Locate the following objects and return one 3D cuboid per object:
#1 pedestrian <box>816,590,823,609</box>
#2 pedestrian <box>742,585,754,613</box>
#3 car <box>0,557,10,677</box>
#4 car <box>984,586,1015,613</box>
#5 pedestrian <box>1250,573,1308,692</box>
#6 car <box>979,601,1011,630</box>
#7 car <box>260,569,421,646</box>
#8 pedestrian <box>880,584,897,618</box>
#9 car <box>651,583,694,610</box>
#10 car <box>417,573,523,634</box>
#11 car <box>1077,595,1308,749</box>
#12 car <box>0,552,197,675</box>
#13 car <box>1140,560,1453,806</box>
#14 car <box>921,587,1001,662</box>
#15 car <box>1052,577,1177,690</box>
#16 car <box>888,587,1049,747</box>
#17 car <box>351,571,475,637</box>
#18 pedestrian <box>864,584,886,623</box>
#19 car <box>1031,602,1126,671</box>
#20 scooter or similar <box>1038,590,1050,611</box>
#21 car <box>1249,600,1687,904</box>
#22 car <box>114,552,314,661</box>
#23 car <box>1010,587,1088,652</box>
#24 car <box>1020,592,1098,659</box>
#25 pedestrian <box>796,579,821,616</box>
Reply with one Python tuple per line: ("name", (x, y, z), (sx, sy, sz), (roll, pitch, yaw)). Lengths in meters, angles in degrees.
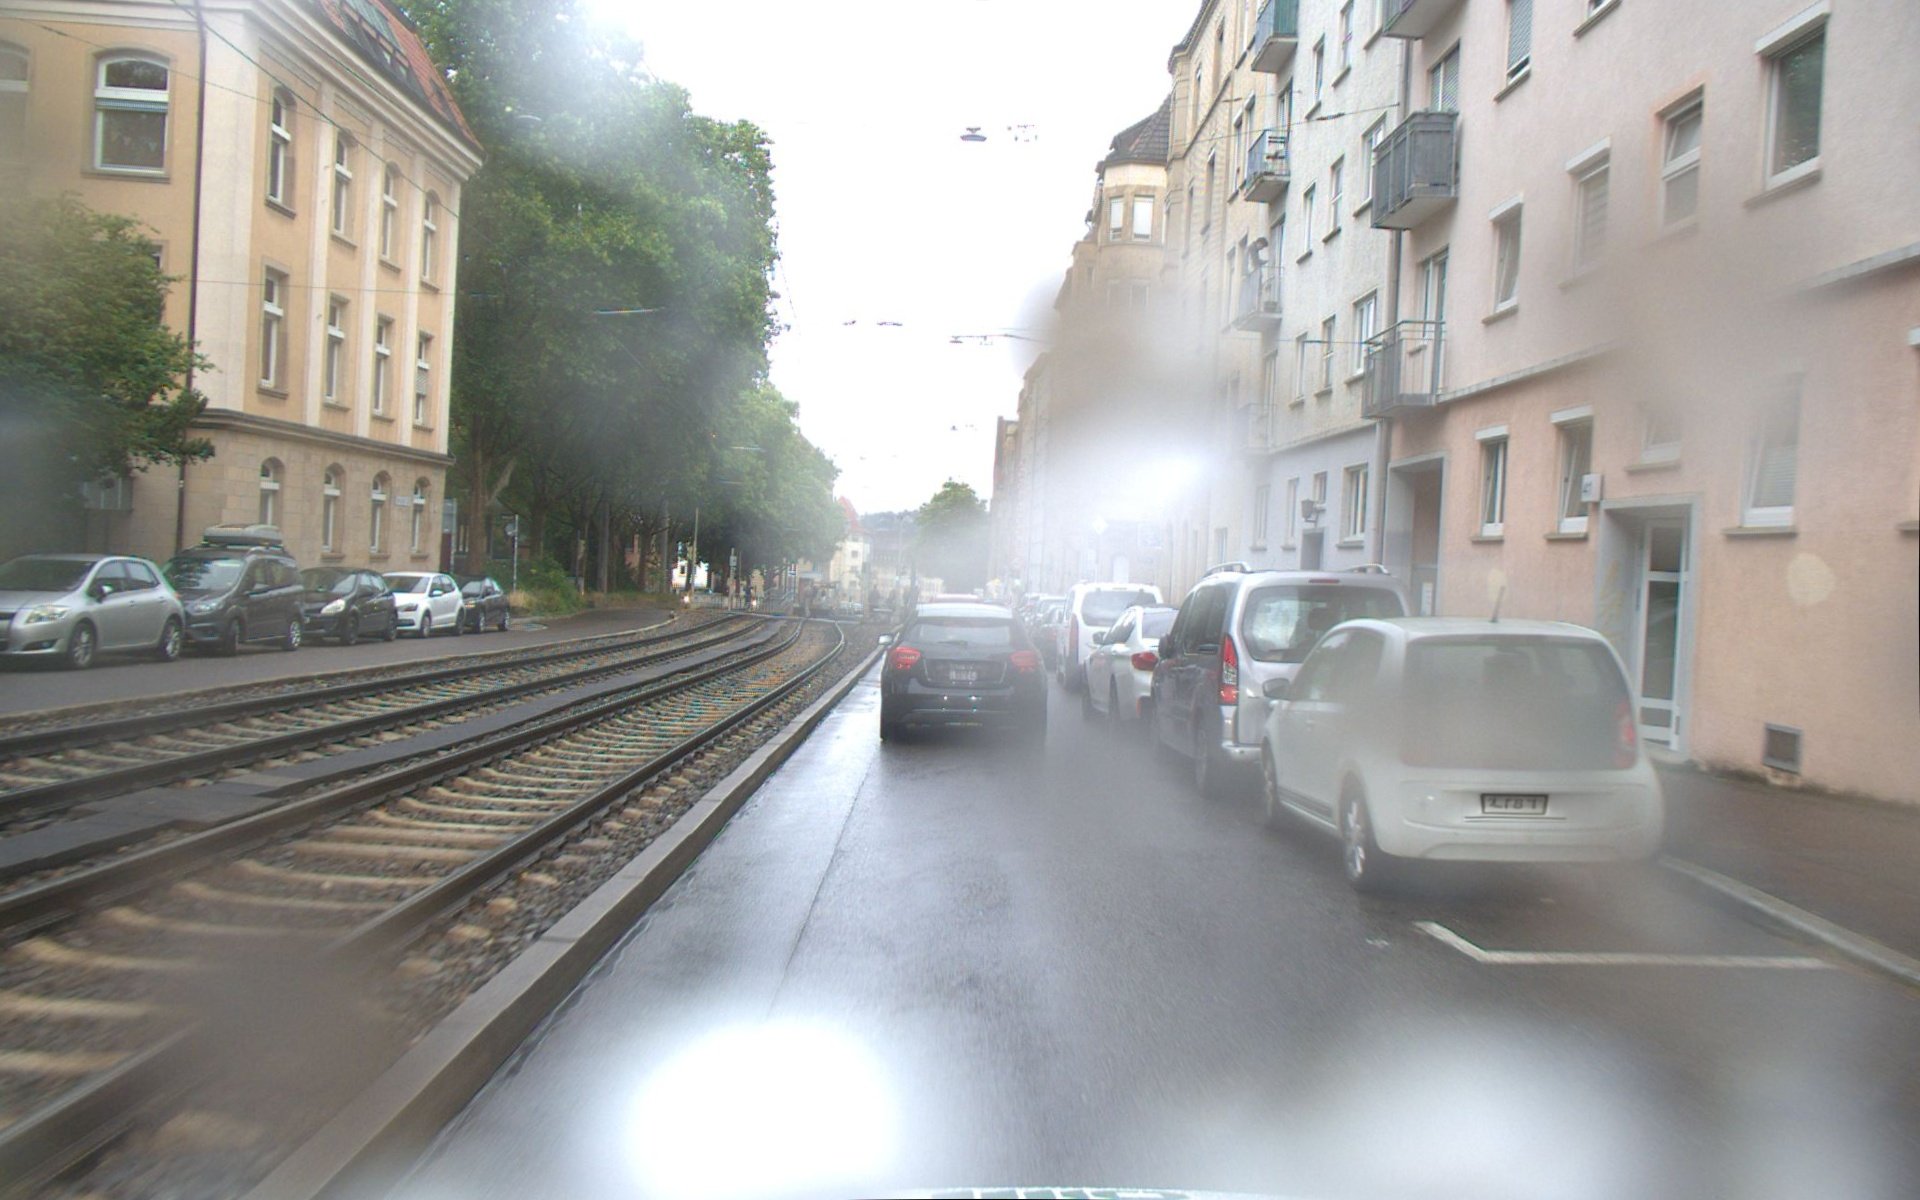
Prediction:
("pedestrian", (-13.540, -0.060, 159.178), (0.508, 1.747, 0.551), (4, 0, -1))
("pedestrian", (-13.433, -0.065, 104.860), (0.523, 1.784, 0.607), (4, 0, 0))
("car", (-12.140, 0.204, 17.890), (1.508, 1.438, 3.952), (0, 0, -2))
("car", (2.368, -0.043, 100.967), (1.724, 1.606, 3.999), (1, 0, -1))
("pedestrian", (5.118, 0.505, 26.575), (0.730, 1.866, 1.039), (0, 0, 1))
("car", (2.026, 0.883, 96.475), (1.790, 1.646, 3.864), (1, 0, -1))
("car", (-12.178, 0.132, 32.758), (1.640, 1.438, 4.010), (0, 0, 0))
("pedestrian", (-3.506, 0.047, 81.308), (0.789, 1.662, 0.892), (1, 0, 0))
("car", (-17.701, -0.239, 101.983), (1.780, 1.531, 4.633), (3, 0, 0))
("car", (-12.512, 0.063, 42.430), (1.581, 1.454, 3.851), (2, 1, -1))
("car", (2.556, 0.730, 19.360), (1.833, 1.481, 4.901), (2, 0, -2))
("car", (-12.113, 0.156, 22.625), (1.508, 1.531, 4.153), (0, 0, -2))
("car", (2.734, 0.612, 14.408), (1.754, 1.796, 4.211), (1, 0, -1))
("car", (-0.005, 0.542, 39.144), (1.749, 1.608, 3.999), (2, 0, -1))
("car", (2.641, 0.532, 29.152), (1.791, 1.781, 4.467), (2, 0, 1))
("car", (0.049, 0.664, 18.227), (1.548, 1.531, 3.573), (2, 0, -1))
("car", (-12.417, 0.085, 37.784), (1.469, 1.415, 3.987), (0, 0, 0))
("pedestrian", (-4.499, 0.167, 87.329), (1.115, 2.033, 1.171), (1, 0, -5))
("car", (2.601, 0.771, 37.186), (1.683, 1.370, 4.460), (3, 0, -1))
("scooter or similar", (5.464, 0.001, 107.116), (0.440, 1.344, 1.774), (1, 0, -8))
("car", (2.887, 0.768, 10.165), (1.538, 1.487, 3.599), (2, 0, 0))
("car", (-12.241, 0.098, 27.424), (1.544, 1.672, 4.070), (0, 0, -2))
("car", (2.535, 0.532, 47.808), (1.731, 1.697, 4.330), (3, 0, -3))
("car", (2.476, 0.623, 42.193), (1.659, 1.556, 4.000), (2, 0, 0))
("pedestrian", (-7.371, -0.136, 80.696), (1.033, 1.748, 0.904), (3, 0, 1))
